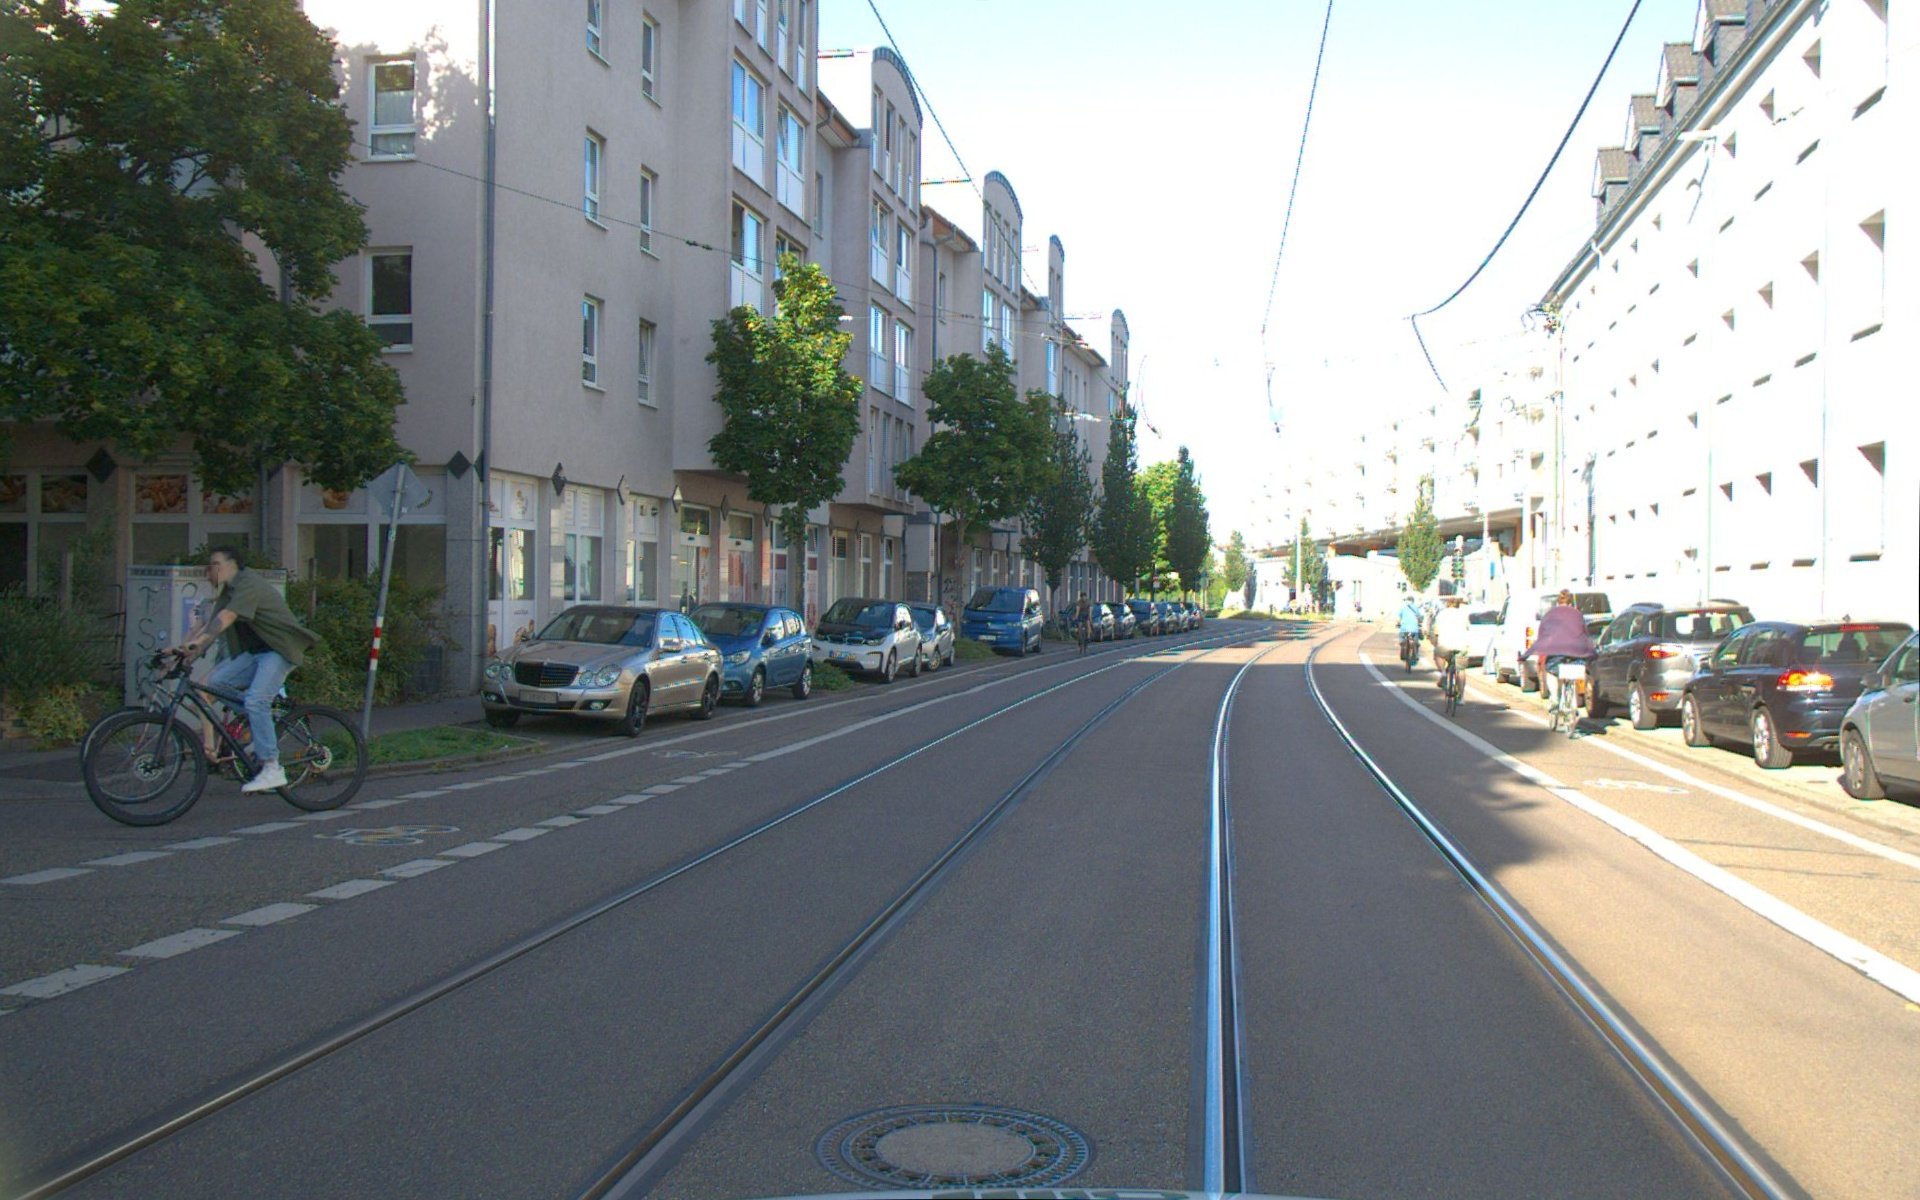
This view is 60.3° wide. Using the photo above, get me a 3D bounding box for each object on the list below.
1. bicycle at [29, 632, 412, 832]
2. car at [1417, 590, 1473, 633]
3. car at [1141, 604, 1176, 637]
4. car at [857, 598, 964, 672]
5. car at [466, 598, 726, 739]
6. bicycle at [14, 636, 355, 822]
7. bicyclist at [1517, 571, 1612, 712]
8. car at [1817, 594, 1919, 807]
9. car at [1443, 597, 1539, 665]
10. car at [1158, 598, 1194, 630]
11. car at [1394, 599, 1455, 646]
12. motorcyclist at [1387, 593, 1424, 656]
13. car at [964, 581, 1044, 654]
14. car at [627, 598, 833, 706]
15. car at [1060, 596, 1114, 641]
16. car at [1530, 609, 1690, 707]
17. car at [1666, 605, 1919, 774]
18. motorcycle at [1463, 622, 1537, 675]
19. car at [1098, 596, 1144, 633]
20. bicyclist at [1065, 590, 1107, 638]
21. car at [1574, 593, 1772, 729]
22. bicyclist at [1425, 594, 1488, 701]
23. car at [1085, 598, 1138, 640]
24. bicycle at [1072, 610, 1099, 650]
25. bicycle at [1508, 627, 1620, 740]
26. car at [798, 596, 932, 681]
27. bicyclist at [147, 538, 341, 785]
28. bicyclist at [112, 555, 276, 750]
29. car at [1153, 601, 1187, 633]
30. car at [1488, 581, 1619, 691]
[{"bbox_3d":[-4.922,0.826,11.147,0.826,1.169,2.220,-2,-1,41],"label":"bicycle"},{"bbox_3d":[20.895,0.468,71.342,1.804,1.787,4.552,0,0,10],"label":"car"},{"bbox_3d":[9.727,1.005,80.977,1.557,1.567,3.194,0,0,10],"label":"car"},{"bbox_3d":[-1.096,0.763,38.651,1.790,1.621,4.003,0,0,9],"label":"car"},{"bbox_3d":[-4.272,0.745,20.083,1.707,1.468,4.003,2,0,9],"label":"car"},{"bbox_3d":[-5.766,0.931,12.473,0.823,1.169,2.229,-4,-1,29],"label":"bicycle"},{"bbox_3d":[7.522,0.501,20.628,0.914,1.705,0.970,0,0,8],"label":"bicyclist"},{"bbox_3d":[8.234,0.747,12.779,1.717,1.598,3.907,-3,0,10],"label":"car"},{"bbox_3d":[13.960,0.768,43.680,1.804,1.674,4.552,0,0,10],"label":"car"},{"bbox_3d":[11.904,0.751,91.134,1.804,1.674,3.700,0,0,10],"label":"car"},{"bbox_3d":[17.244,0.806,61.542,1.804,1.674,3.968,0,0,10],"label":"car"},{"bbox_3d":[10.300,0.548,38.276,0.712,1.430,1.021,0,0,8],"label":"motorcyclist"},{"bbox_3d":[1.315,0.479,47.998,1.629,2.021,4.346,0,0,11],"label":"car"},{"bbox_3d":[-3.479,0.753,25.769,1.791,1.515,4.003,-2,0,14],"label":"car"},{"bbox_3d":[4.876,0.694,63.079,1.629,1.646,4.003,0,0,11],"label":"car"},{"bbox_3d":[10.742,0.976,27.591,1.757,1.509,3.781,0,-2,10],"label":"car"},{"bbox_3d":[8.907,0.866,17.769,1.557,1.564,4.010,-2,0,11],"label":"car"},{"bbox_3d":[12.393,1.097,38.009,0.485,1.164,1.753,1,0,-30],"label":"motorcycle"},{"bbox_3d":[7.558,0.650,77.369,1.804,1.674,4.552,0,0,10],"label":"car"},{"bbox_3d":[3.656,0.406,48.052,1.158,1.354,1.096,0,0,7],"label":"bicyclist"},{"bbox_3d":[9.783,0.775,22.983,1.625,1.699,3.907,-1,0,10],"label":"car"},{"bbox_3d":[7.141,0.667,23.832,0.712,1.487,1.021,0,0,8],"label":"bicyclist"},{"bbox_3d":[6.343,0.741,68.753,1.804,1.674,4.552,0,0,10],"label":"car"},{"bbox_3d":[3.644,0.858,47.967,0.609,1.121,1.962,-1,0,8],"label":"bicycle"},{"bbox_3d":[7.558,1.013,20.815,0.803,1.258,2.464,2,0,8],"label":"bicycle"},{"bbox_3d":[-1.877,0.729,33.927,1.790,1.621,4.004,0,0,11],"label":"car"},{"bbox_3d":[-4.866,0.399,11.246,0.868,1.589,0.864,-3,-1,40],"label":"bicyclist"},{"bbox_3d":[-5.808,0.386,12.562,0.611,1.404,0.867,-4,-1,29],"label":"bicyclist"},{"bbox_3d":[10.813,0.849,85.077,1.557,1.567,3.194,0,0,10],"label":"car"},{"bbox_3d":[11.634,0.656,32.664,1.748,2.005,4.158,-1,0,10],"label":"car"}]
